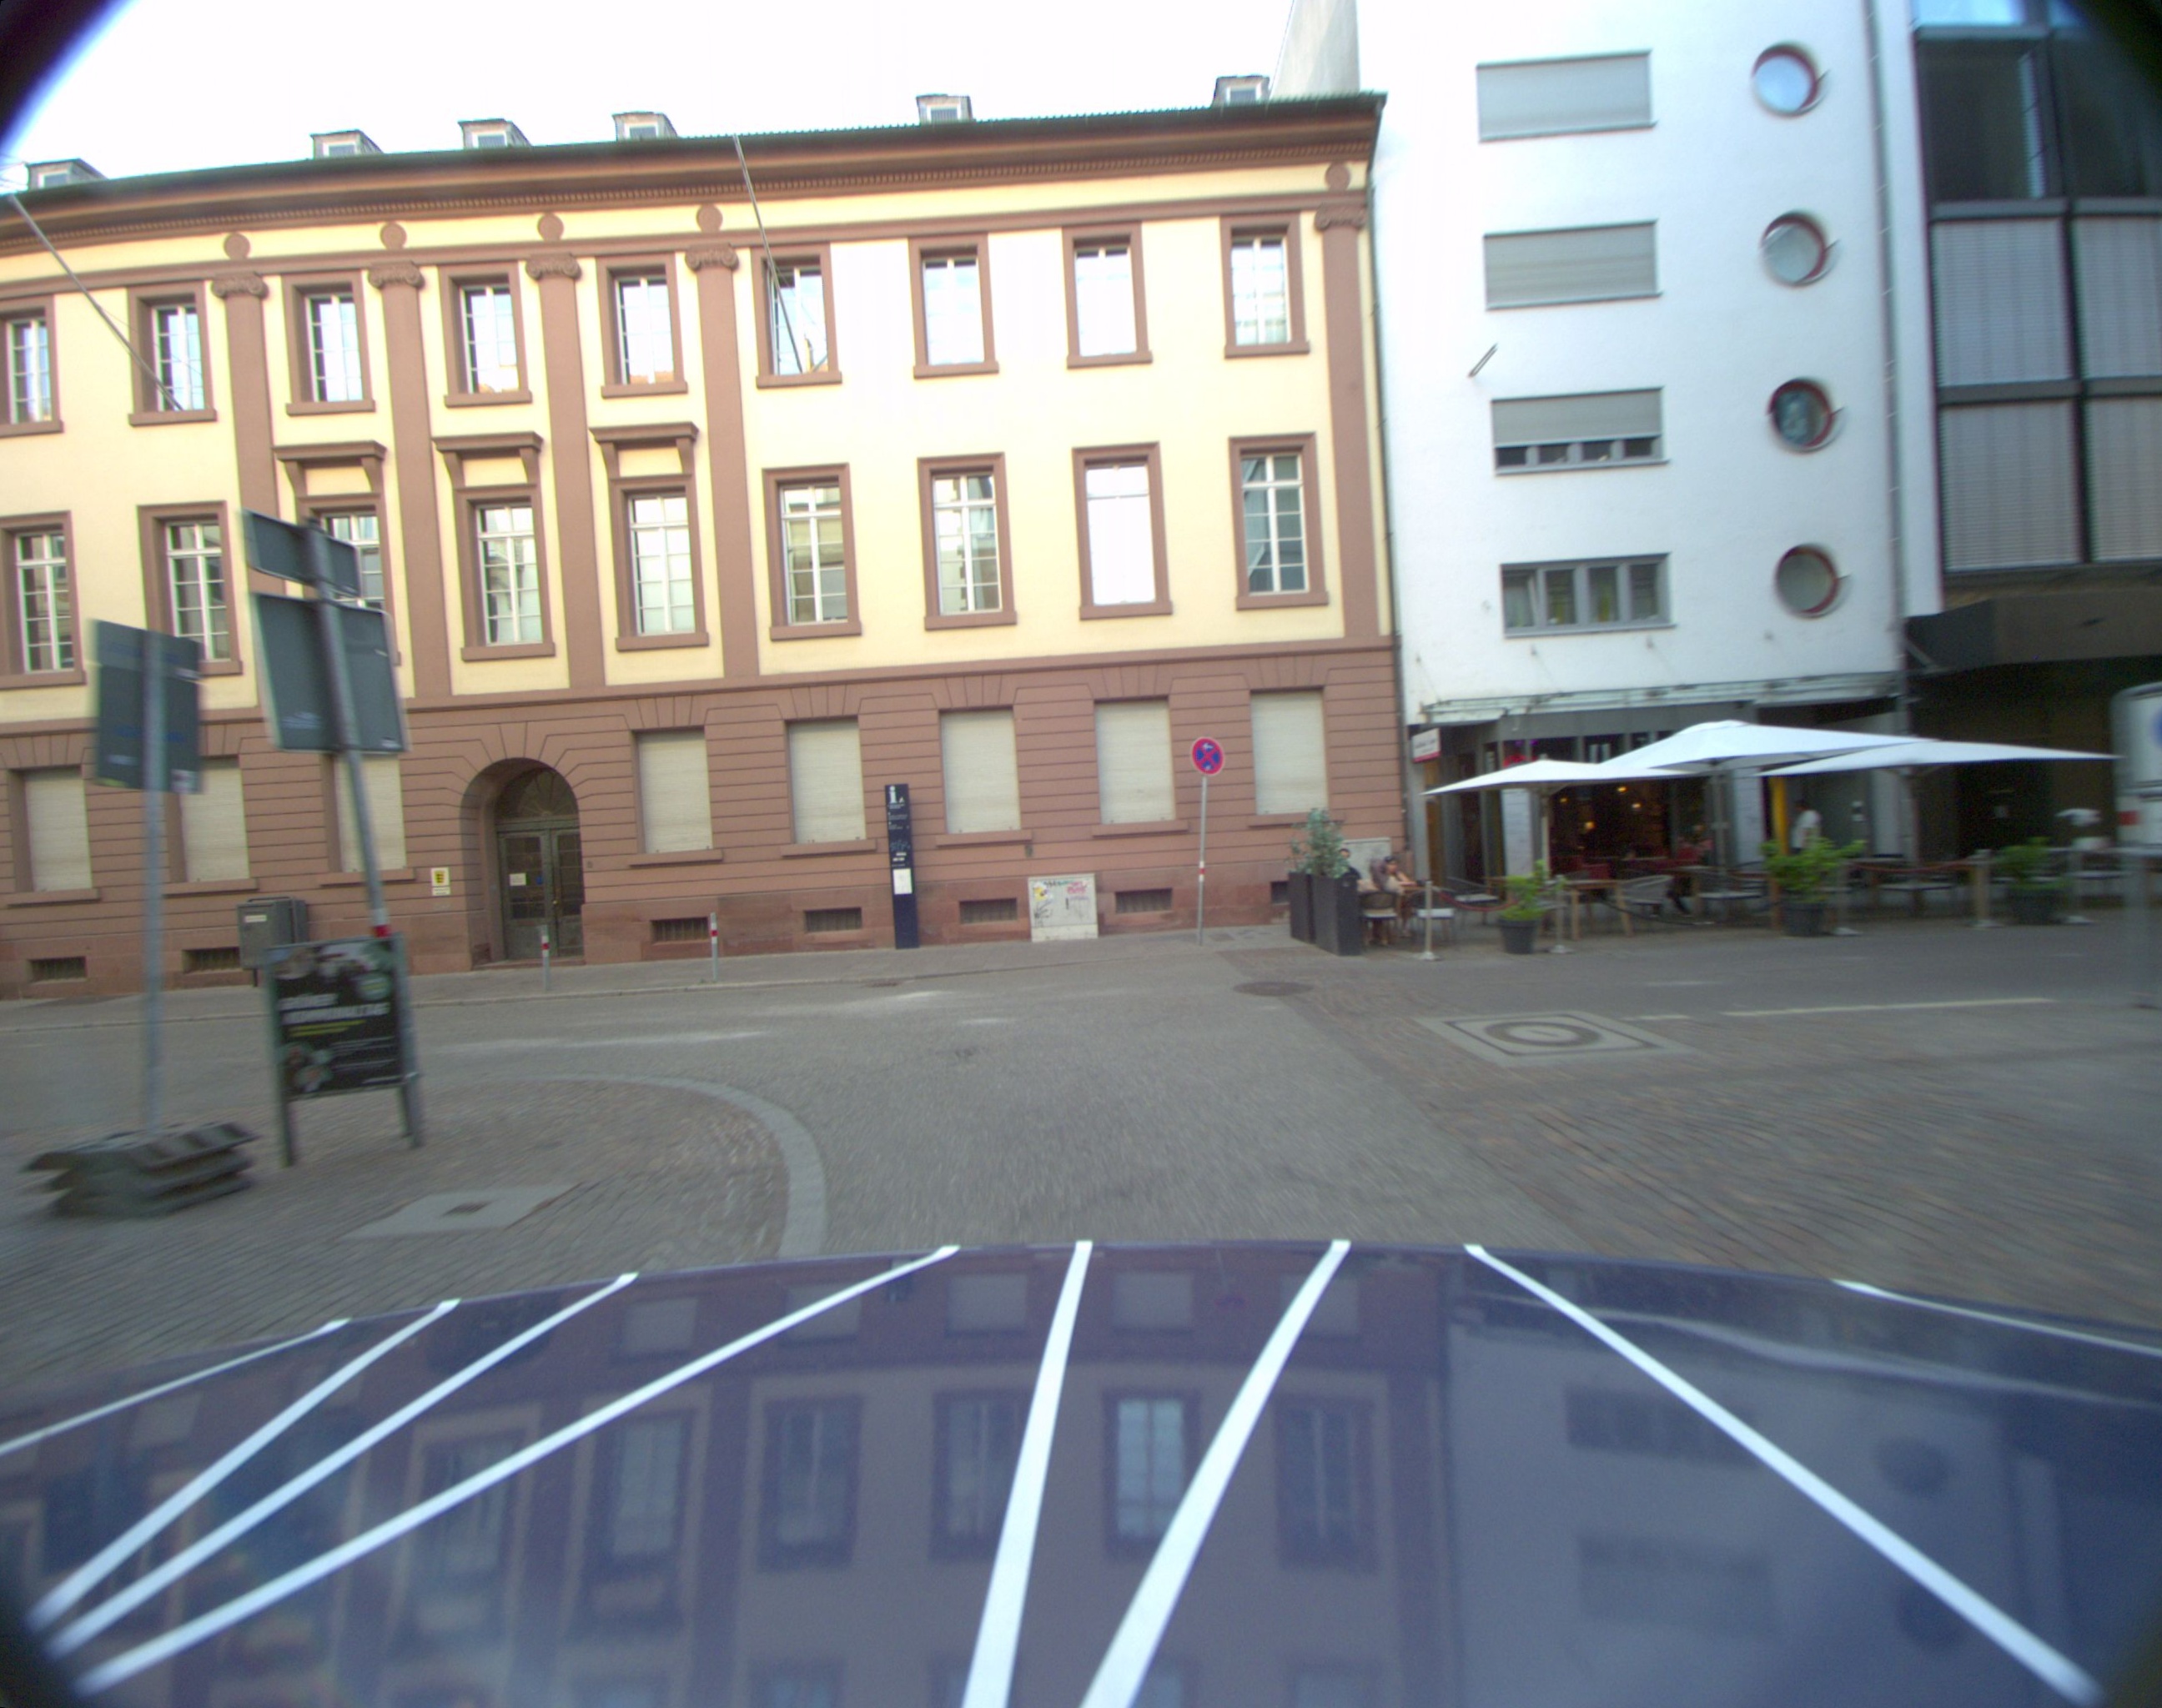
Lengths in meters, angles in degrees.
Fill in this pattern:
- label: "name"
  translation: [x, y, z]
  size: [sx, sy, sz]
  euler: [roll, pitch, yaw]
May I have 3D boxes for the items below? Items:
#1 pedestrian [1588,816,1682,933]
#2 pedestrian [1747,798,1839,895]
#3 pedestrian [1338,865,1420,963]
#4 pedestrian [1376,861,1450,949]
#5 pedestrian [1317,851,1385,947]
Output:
- label: "pedestrian"
  translation: [8.279, 0.296, 11.375]
  size: [0.725, 1.639, 0.792]
  euler: [-4, 1, -5]
- label: "pedestrian"
  translation: [12.861, -0.131, 13.741]
  size: [0.800, 1.649, 0.858]
  euler: [-4, 1, -16]
- label: "pedestrian"
  translation: [3.924, 0.765, 10.051]
  size: [0.673, 1.177, 0.792]
  euler: [-4, 2, -5]
- label: "pedestrian"
  translation: [4.804, 0.720, 11.044]
  size: [0.673, 1.177, 0.792]
  euler: [-4, 2, -1]
- label: "pedestrian"
  translation: [4.026, 0.654, 11.367]
  size: [0.673, 1.324, 0.792]
  euler: [-4, 2, -1]
